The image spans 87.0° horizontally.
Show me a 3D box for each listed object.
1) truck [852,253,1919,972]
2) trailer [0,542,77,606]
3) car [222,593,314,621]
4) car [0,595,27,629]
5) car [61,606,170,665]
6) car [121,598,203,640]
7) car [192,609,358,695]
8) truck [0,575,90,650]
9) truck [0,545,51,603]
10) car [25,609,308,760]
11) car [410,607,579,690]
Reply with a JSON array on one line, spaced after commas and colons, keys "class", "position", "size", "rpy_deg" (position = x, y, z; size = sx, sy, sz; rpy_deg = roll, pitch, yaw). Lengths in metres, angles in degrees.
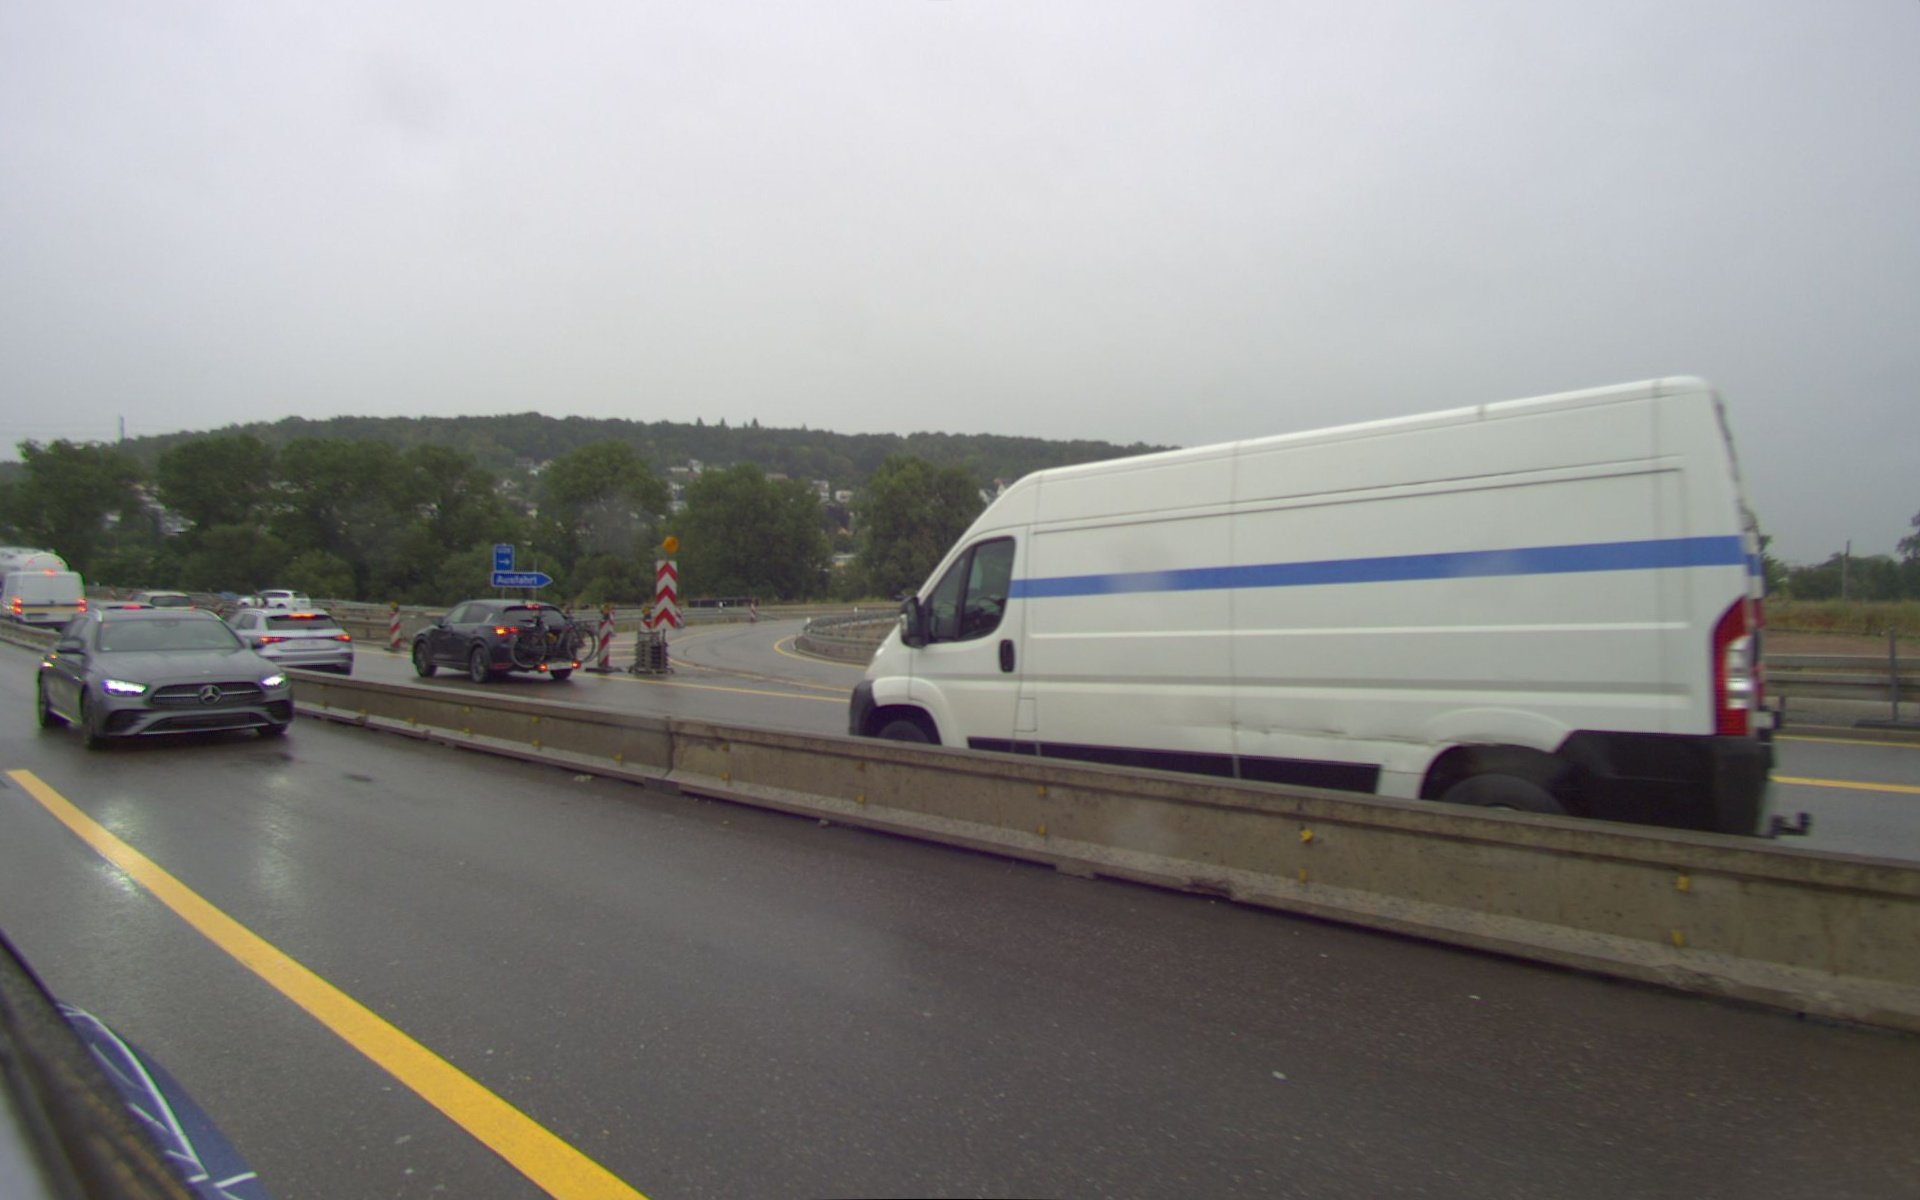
[{"class": "truck", "position": [2.155, 0.069, 6.515], "size": [6.011, 2.734, 2.126], "rpy_deg": [-1, -1, 40]}, {"class": "trailer", "position": [-58.539, -1.605, 63.792], "size": [11.995, 3.705, 2.594], "rpy_deg": [1, 1, 40]}, {"class": "car", "position": [-45.633, 0.476, 66.817], "size": [4.982, 1.713, 1.848], "rpy_deg": [1, 1, 5]}, {"class": "car", "position": [-45.004, 0.511, 47.109], "size": [4.676, 1.516, 1.754], "rpy_deg": [1, 0, 40]}, {"class": "car", "position": [-24.840, 0.982, 29.712], "size": [4.309, 1.550, 1.768], "rpy_deg": [0, 0, 41]}, {"class": "car", "position": [-31.371, 0.718, 39.765], "size": [3.997, 1.558, 1.769], "rpy_deg": [0, 0, 40]}, {"class": "car", "position": [-13.855, 0.961, 20.376], "size": [4.342, 1.535, 1.659], "rpy_deg": [0, -1, 40]}, {"class": "truck", "position": [-34.762, 0.384, 38.152], "size": [5.958, 2.595, 2.057], "rpy_deg": [2, 1, 40]}, {"class": "truck", "position": [-63.117, -1.739, 67.676], "size": [6.590, 3.705, 2.594], "rpy_deg": [1, 1, 40]}, {"class": "car", "position": [-9.724, 0.862, 12.264], "size": [4.482, 1.449, 1.926], "rpy_deg": [0, 0, 42]}, {"class": "car", "position": [-9.617, 0.920, 20.802], "size": [3.874, 1.535, 1.708], "rpy_deg": [0, -1, 41]}]
